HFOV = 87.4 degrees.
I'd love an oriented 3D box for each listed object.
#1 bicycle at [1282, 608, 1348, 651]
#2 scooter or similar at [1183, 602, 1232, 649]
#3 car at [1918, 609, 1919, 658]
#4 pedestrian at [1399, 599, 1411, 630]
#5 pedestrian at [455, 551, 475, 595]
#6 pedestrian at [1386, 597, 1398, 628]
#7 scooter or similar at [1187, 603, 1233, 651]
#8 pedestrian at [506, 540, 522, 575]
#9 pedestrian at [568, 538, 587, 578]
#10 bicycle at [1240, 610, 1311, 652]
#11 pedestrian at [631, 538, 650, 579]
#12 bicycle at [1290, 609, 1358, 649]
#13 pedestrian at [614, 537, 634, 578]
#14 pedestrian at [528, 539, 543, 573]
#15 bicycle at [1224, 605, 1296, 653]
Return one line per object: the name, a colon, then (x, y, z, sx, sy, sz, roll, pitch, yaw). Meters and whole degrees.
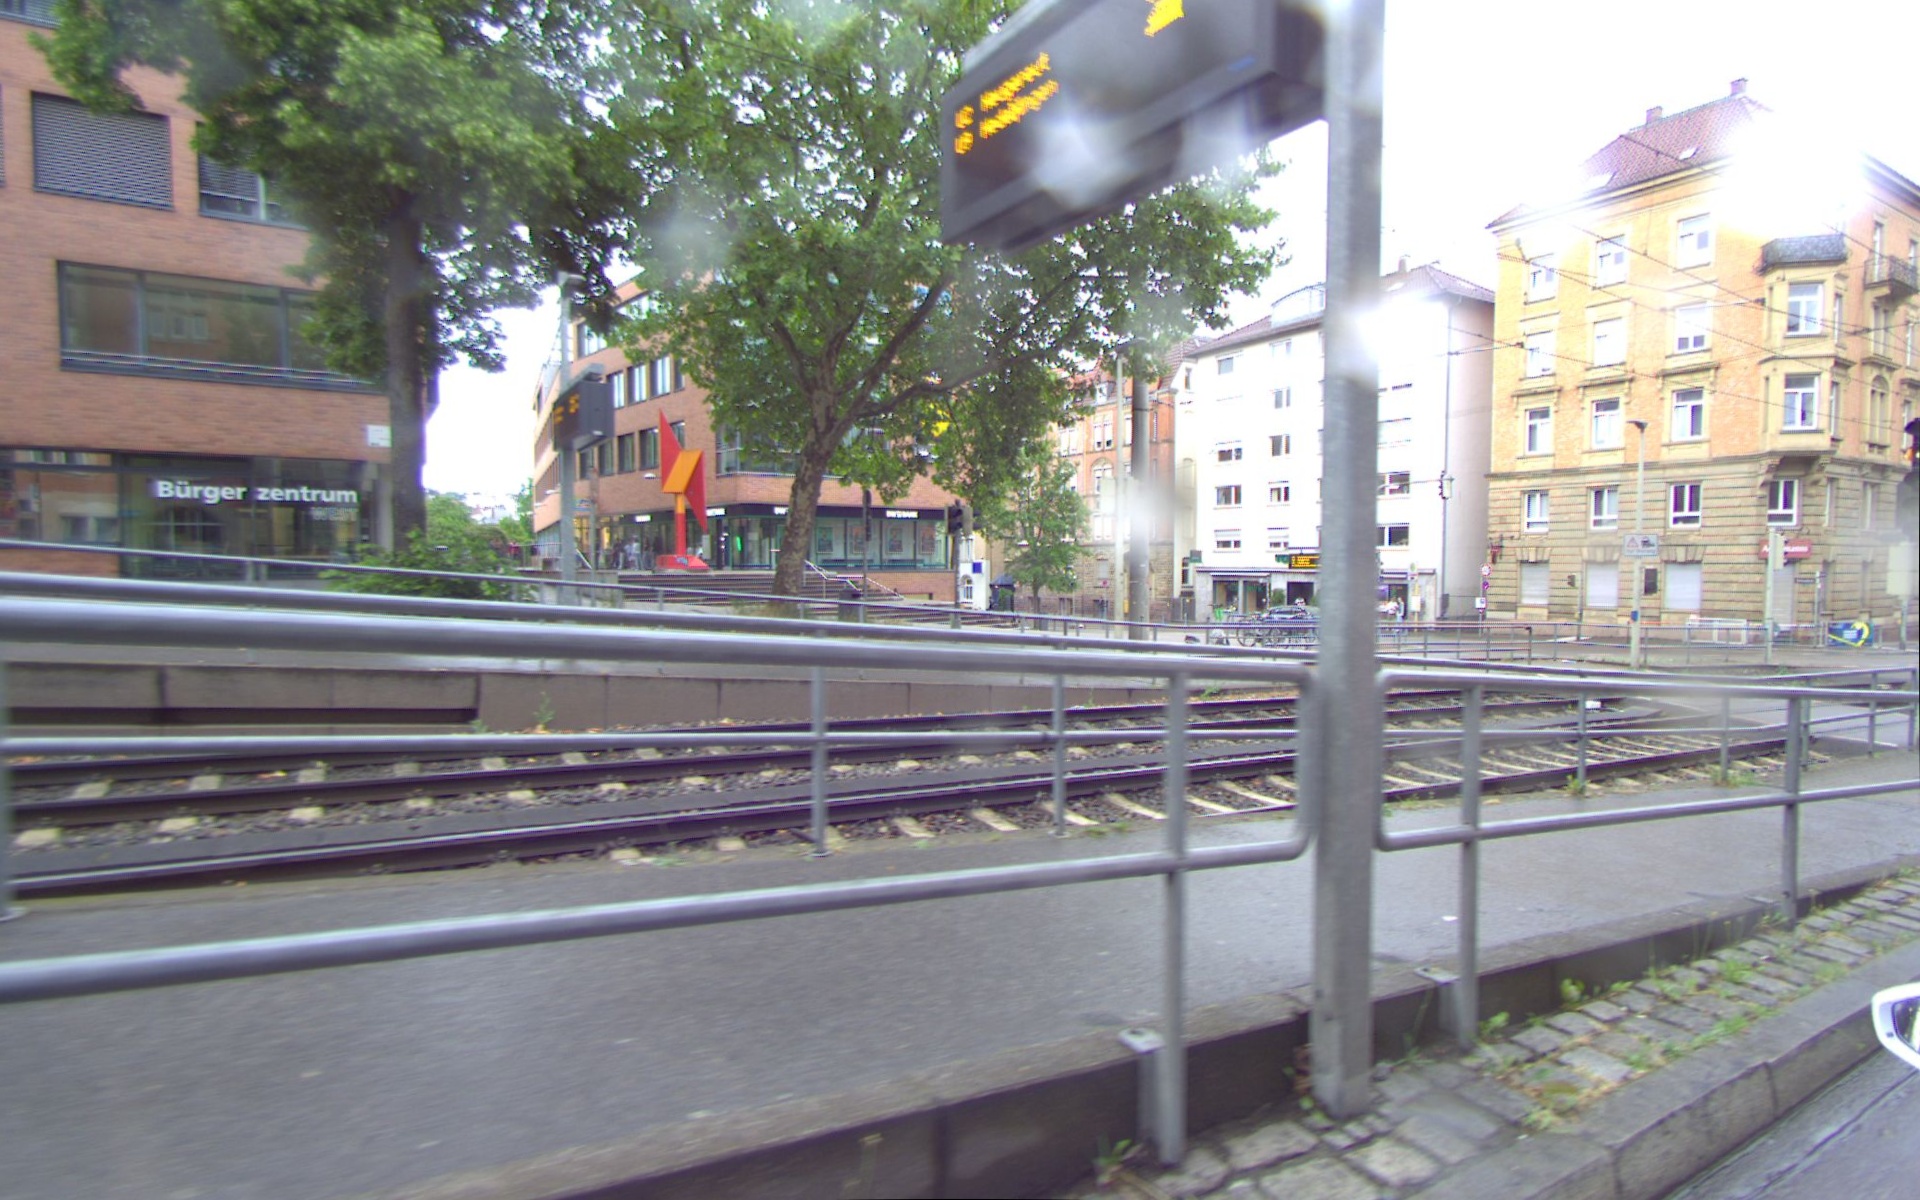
bicycle: (10.374, 0.840, 29.385, 0.514, 1.158, 1.750, 0, 1, -42)
scooter or similar: (6.592, 0.668, 26.783, 1.226, 1.211, 0.299, 1, 1, 7)
car: (29.324, 1.026, 28.339, 1.397, 1.509, 3.159, 1, 1, -5)
pedestrian: (23.915, 0.767, 54.032, 0.507, 1.643, 0.486, 2, 1, 19)
pedestrian: (-23.498, -1.278, 47.705, 0.710, 2.040, 0.713, 1, 0, -37)
pedestrian: (23.433, 0.669, 54.531, 0.507, 1.643, 0.486, 2, 1, 19)
scooter or similar: (6.494, 0.695, 26.134, 1.089, 1.211, 0.362, 1, 1, 7)
pedestrian: (-26.699, -2.532, 60.121, 0.711, 2.040, 0.713, 1, 0, -37)
pedestrian: (-20.026, -2.198, 52.571, 0.710, 2.040, 0.713, 1, 0, -37)
bicycle: (8.796, 0.855, 28.029, 0.514, 1.076, 1.853, 0, 1, -43)
pedestrian: (-16.187, -2.070, 50.815, 0.710, 2.040, 0.713, 1, 0, -37)
bicycle: (10.832, 0.852, 29.929, 0.514, 1.079, 1.853, 0, 1, -42)
pedestrian: (-17.339, -2.174, 51.769, 0.716, 2.040, 0.708, 1, 1, -44)
pedestrian: (-25.567, -2.654, 60.484, 0.710, 2.041, 0.713, 1, 1, -36)
bicycle: (8.126, 0.773, 27.239, 0.514, 1.211, 1.853, 0, 1, -42)
